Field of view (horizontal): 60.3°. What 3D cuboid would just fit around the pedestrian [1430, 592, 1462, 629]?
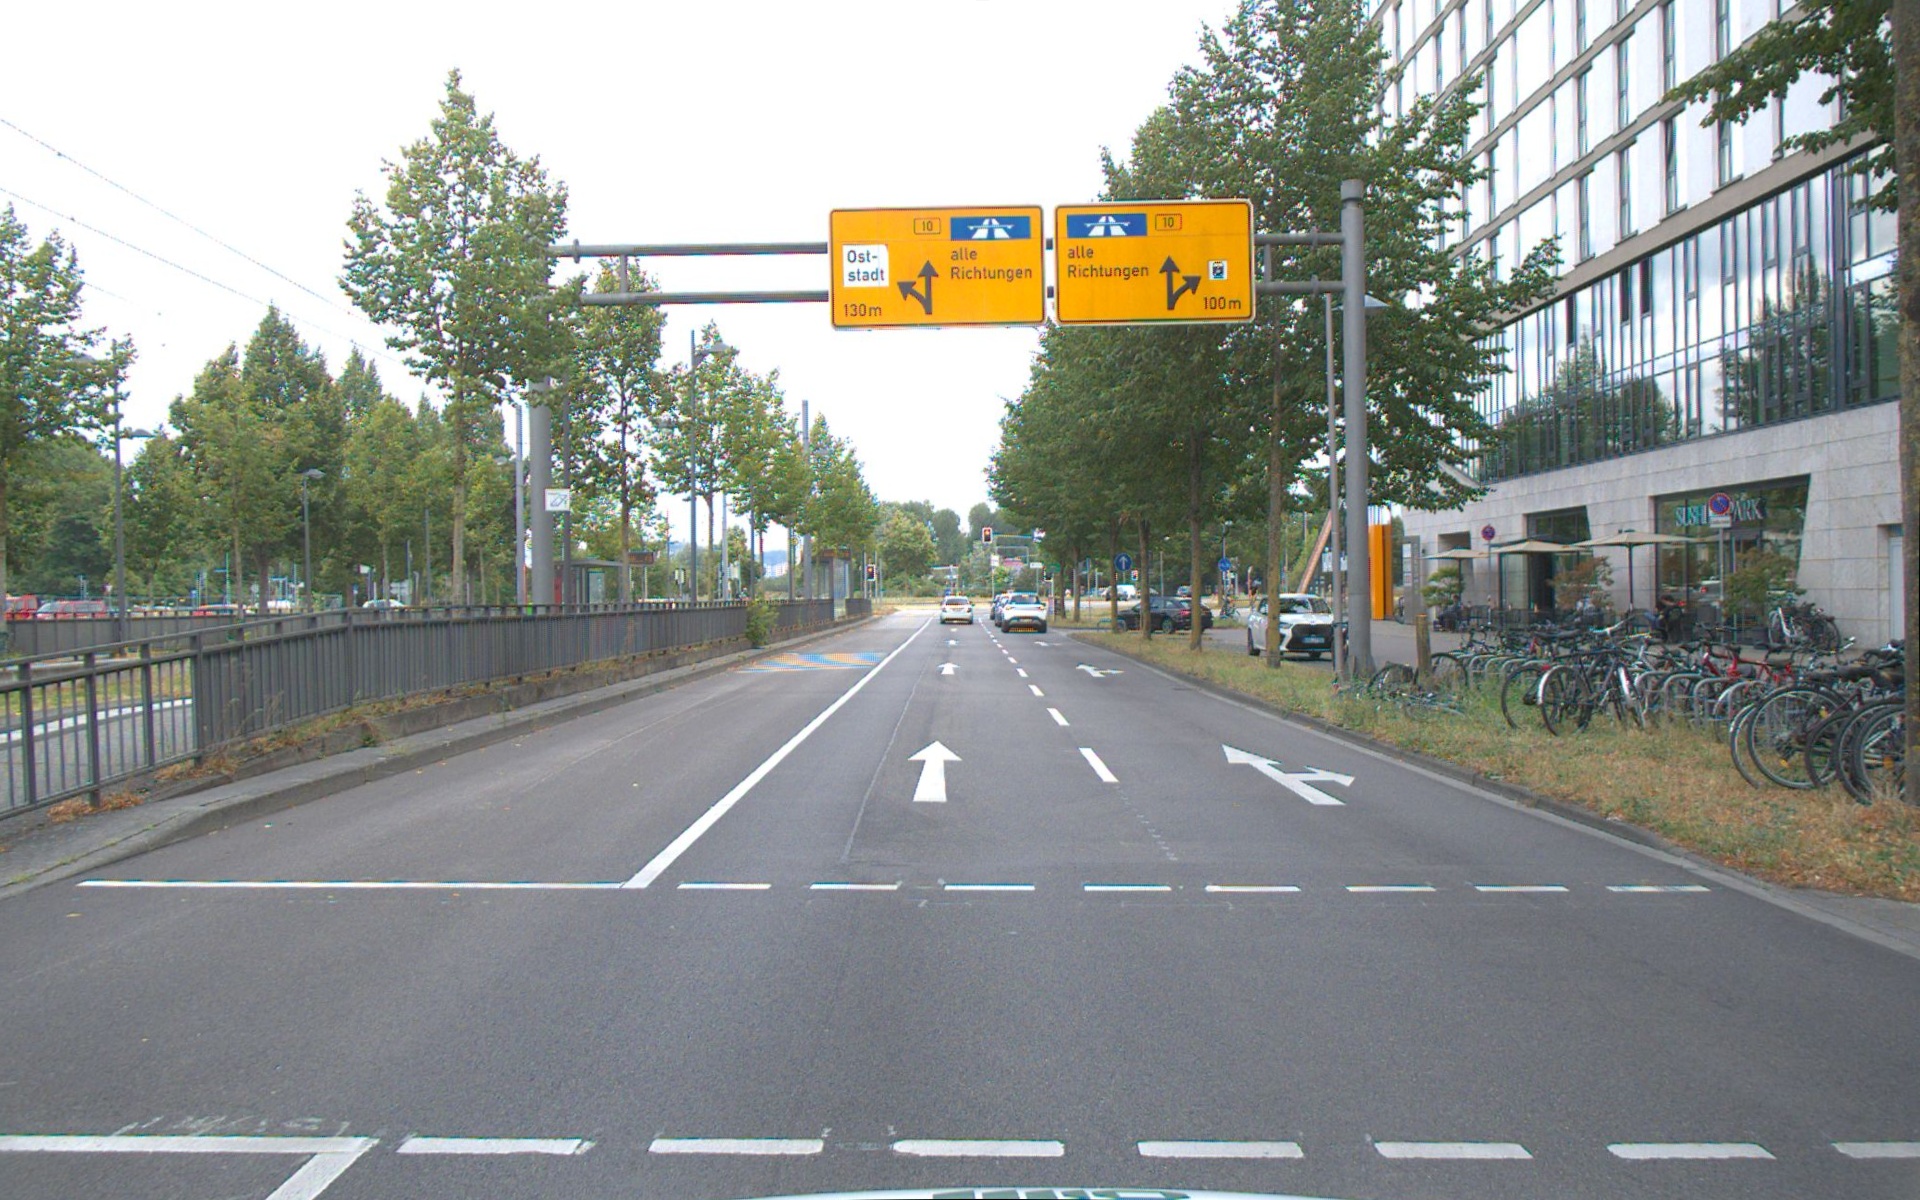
[{"bbox_3d":[16.688,0.355,56.797,0.879,1.250,0.951,-1,0,5],"label":"pedestrian"}]

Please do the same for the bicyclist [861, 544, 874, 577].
[{"bbox_3d":[-5.796,-2.461,103.292,0.715,1.913,0.735,-3,14,-8],"label":"bicyclist"}]

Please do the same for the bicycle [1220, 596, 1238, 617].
[{"bbox_3d":[15.590,0.360,95.890,0.659,1.163,2.007,-1,0,0],"label":"bicycle"}]

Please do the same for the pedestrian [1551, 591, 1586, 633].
[{"bbox_3d":[17.726,0.348,48.191,0.704,1.213,0.759,-1,0,-1],"label":"pedestrian"}]

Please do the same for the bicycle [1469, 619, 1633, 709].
[{"bbox_3d":[7.761,0.833,21.764,1.891,1.084,0.704,2,0,-3],"label":"bicycle"}]

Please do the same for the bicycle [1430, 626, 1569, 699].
[{"bbox_3d":[7.804,0.899,23.947,1.823,0.968,0.501,2,0,-4],"label":"bicycle"}]

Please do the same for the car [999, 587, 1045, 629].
[{"bbox_3d":[2.586,0.337,69.793,1.742,1.685,4.023,-1,0,0],"label":"car"}]

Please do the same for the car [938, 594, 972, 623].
[{"bbox_3d":[-0.285,0.450,89.054,1.738,1.474,3.909,-1,0,-2],"label":"car"}]

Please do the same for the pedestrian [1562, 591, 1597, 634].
[{"bbox_3d":[17.717,0.343,47.339,0.704,1.213,0.759,-1,0,1],"label":"pedestrian"}]

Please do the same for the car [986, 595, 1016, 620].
[{"bbox_3d":[2.464,0.467,100.131,1.592,1.474,3.909,0,0,-2],"label":"car"}]

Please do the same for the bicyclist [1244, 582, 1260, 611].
[{"bbox_3d":[16.783,-0.202,95.108,0.709,1.610,0.990,-1,0,0],"label":"bicyclist"}]

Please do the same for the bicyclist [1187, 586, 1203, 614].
[{"bbox_3d":[15.327,0.008,108.016,0.849,1.820,1.174,-1,0,-1],"label":"bicyclist"}]

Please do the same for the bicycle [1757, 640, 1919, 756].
[{"bbox_3d":[7.802,0.839,14.183,1.683,0.921,0.587,2,0,-9],"label":"bicycle"}]

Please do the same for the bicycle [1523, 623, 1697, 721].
[{"bbox_3d":[7.730,0.854,19.694,1.894,1.084,0.543,2,0,-9],"label":"bicycle"}]

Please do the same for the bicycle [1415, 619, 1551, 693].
[{"bbox_3d":[7.779,0.830,24.613,1.823,1.012,0.574,2,0,-3],"label":"bicycle"}]

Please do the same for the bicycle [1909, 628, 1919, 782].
[{"bbox_3d":[7.805,0.784,11.933,1.635,1.109,0.525,1,0,-4],"label":"bicycle"}]

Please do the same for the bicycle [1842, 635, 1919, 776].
[{"bbox_3d":[7.808,0.812,12.763,1.739,1.030,0.609,1,0,-9],"label":"bicycle"}]

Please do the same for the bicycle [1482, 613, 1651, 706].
[{"bbox_3d":[7.694,0.746,21.004,1.891,1.084,0.641,2,0,-3],"label":"bicycle"}]

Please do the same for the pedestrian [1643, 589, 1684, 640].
[{"bbox_3d":[17.034,0.343,40.070,0.756,1.213,1.107,-1,0,15],"label":"pedestrian"}]

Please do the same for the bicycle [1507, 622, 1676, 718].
[{"bbox_3d":[7.738,0.856,20.273,1.894,1.084,0.543,2,0,-9],"label":"bicycle"}]

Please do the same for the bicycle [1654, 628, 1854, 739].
[{"bbox_3d":[7.715,0.809,16.091,1.683,0.991,0.608,2,0,-9],"label":"bicycle"}]

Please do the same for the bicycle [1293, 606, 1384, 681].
[{"bbox_3d":[6.223,0.695,27.346,0.696,1.135,2.199,2,0,-8],"label":"bicycle"}]

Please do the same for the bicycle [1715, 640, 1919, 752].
[{"bbox_3d":[7.719,0.855,14.796,1.683,0.921,0.587,2,0,-9],"label":"bicycle"}]

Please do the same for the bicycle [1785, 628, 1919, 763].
[{"bbox_3d":[7.716,0.782,13.455,1.739,1.030,0.609,2,0,-9],"label":"bicycle"}]

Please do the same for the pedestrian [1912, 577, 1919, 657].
[{"bbox_3d":[17.508,0.297,29.439,0.740,1.431,0.721,-1,0,7],"label":"pedestrian"}]

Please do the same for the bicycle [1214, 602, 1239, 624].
[{"bbox_3d":[12.128,0.582,75.333,0.617,0.972,2.106,-1,0,-4],"label":"bicycle"}]

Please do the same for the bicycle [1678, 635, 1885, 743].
[{"bbox_3d":[7.654,0.826,15.430,1.683,0.921,0.587,2,0,-9],"label":"bicycle"}]

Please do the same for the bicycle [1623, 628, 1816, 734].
[{"bbox_3d":[7.678,0.813,16.740,1.711,0.991,0.608,2,0,-9],"label":"bicycle"}]

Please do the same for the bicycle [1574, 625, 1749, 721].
[{"bbox_3d":[7.804,0.809,18.428,1.711,0.991,0.608,2,0,-9],"label":"bicycle"}]

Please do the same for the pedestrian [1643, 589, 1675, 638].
[{"bbox_3d":[17.578,0.337,41.626,0.704,1.213,0.759,-1,0,22],"label":"pedestrian"}]

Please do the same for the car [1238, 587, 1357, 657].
[{"bbox_3d":[8.183,0.491,40.468,1.899,1.579,4.593,-1,0,-1],"label":"car"}]

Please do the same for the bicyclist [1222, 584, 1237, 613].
[{"bbox_3d":[15.592,-0.088,95.708,0.710,1.610,0.989,-1,0,-1],"label":"bicyclist"}]

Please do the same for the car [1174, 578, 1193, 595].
[{"bbox_3d":[22.707,-1.386,167.889,1.745,1.664,4.406,-1,1,10],"label":"car"}]

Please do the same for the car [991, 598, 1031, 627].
[{"bbox_3d":[2.572,0.620,84.413,1.751,1.457,4.309,-1,0,-2],"label":"car"}]

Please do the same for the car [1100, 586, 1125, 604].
[{"bbox_3d":[15.954,-0.538,173.566,1.954,1.822,3.997,1,0,-4],"label":"car"}]

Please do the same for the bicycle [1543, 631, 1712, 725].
[{"bbox_3d":[7.675,0.895,19.047,1.711,0.991,0.608,2,0,-9],"label":"bicycle"}]

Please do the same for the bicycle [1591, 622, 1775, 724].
[{"bbox_3d":[7.676,0.770,17.580,1.711,0.991,0.608,2,0,-9],"label":"bicycle"}]

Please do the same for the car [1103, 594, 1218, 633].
[{"bbox_3d":[8.019,0.551,66.564,1.925,1.501,4.811,-1,0,-35],"label":"car"}]

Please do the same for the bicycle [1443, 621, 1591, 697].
[{"bbox_3d":[7.802,0.821,23.198,1.823,0.968,0.652,2,0,-3],"label":"bicycle"}]

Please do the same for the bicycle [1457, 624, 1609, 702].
[{"bbox_3d":[7.771,0.847,22.456,1.823,0.968,0.612,2,0,-3],"label":"bicycle"}]
